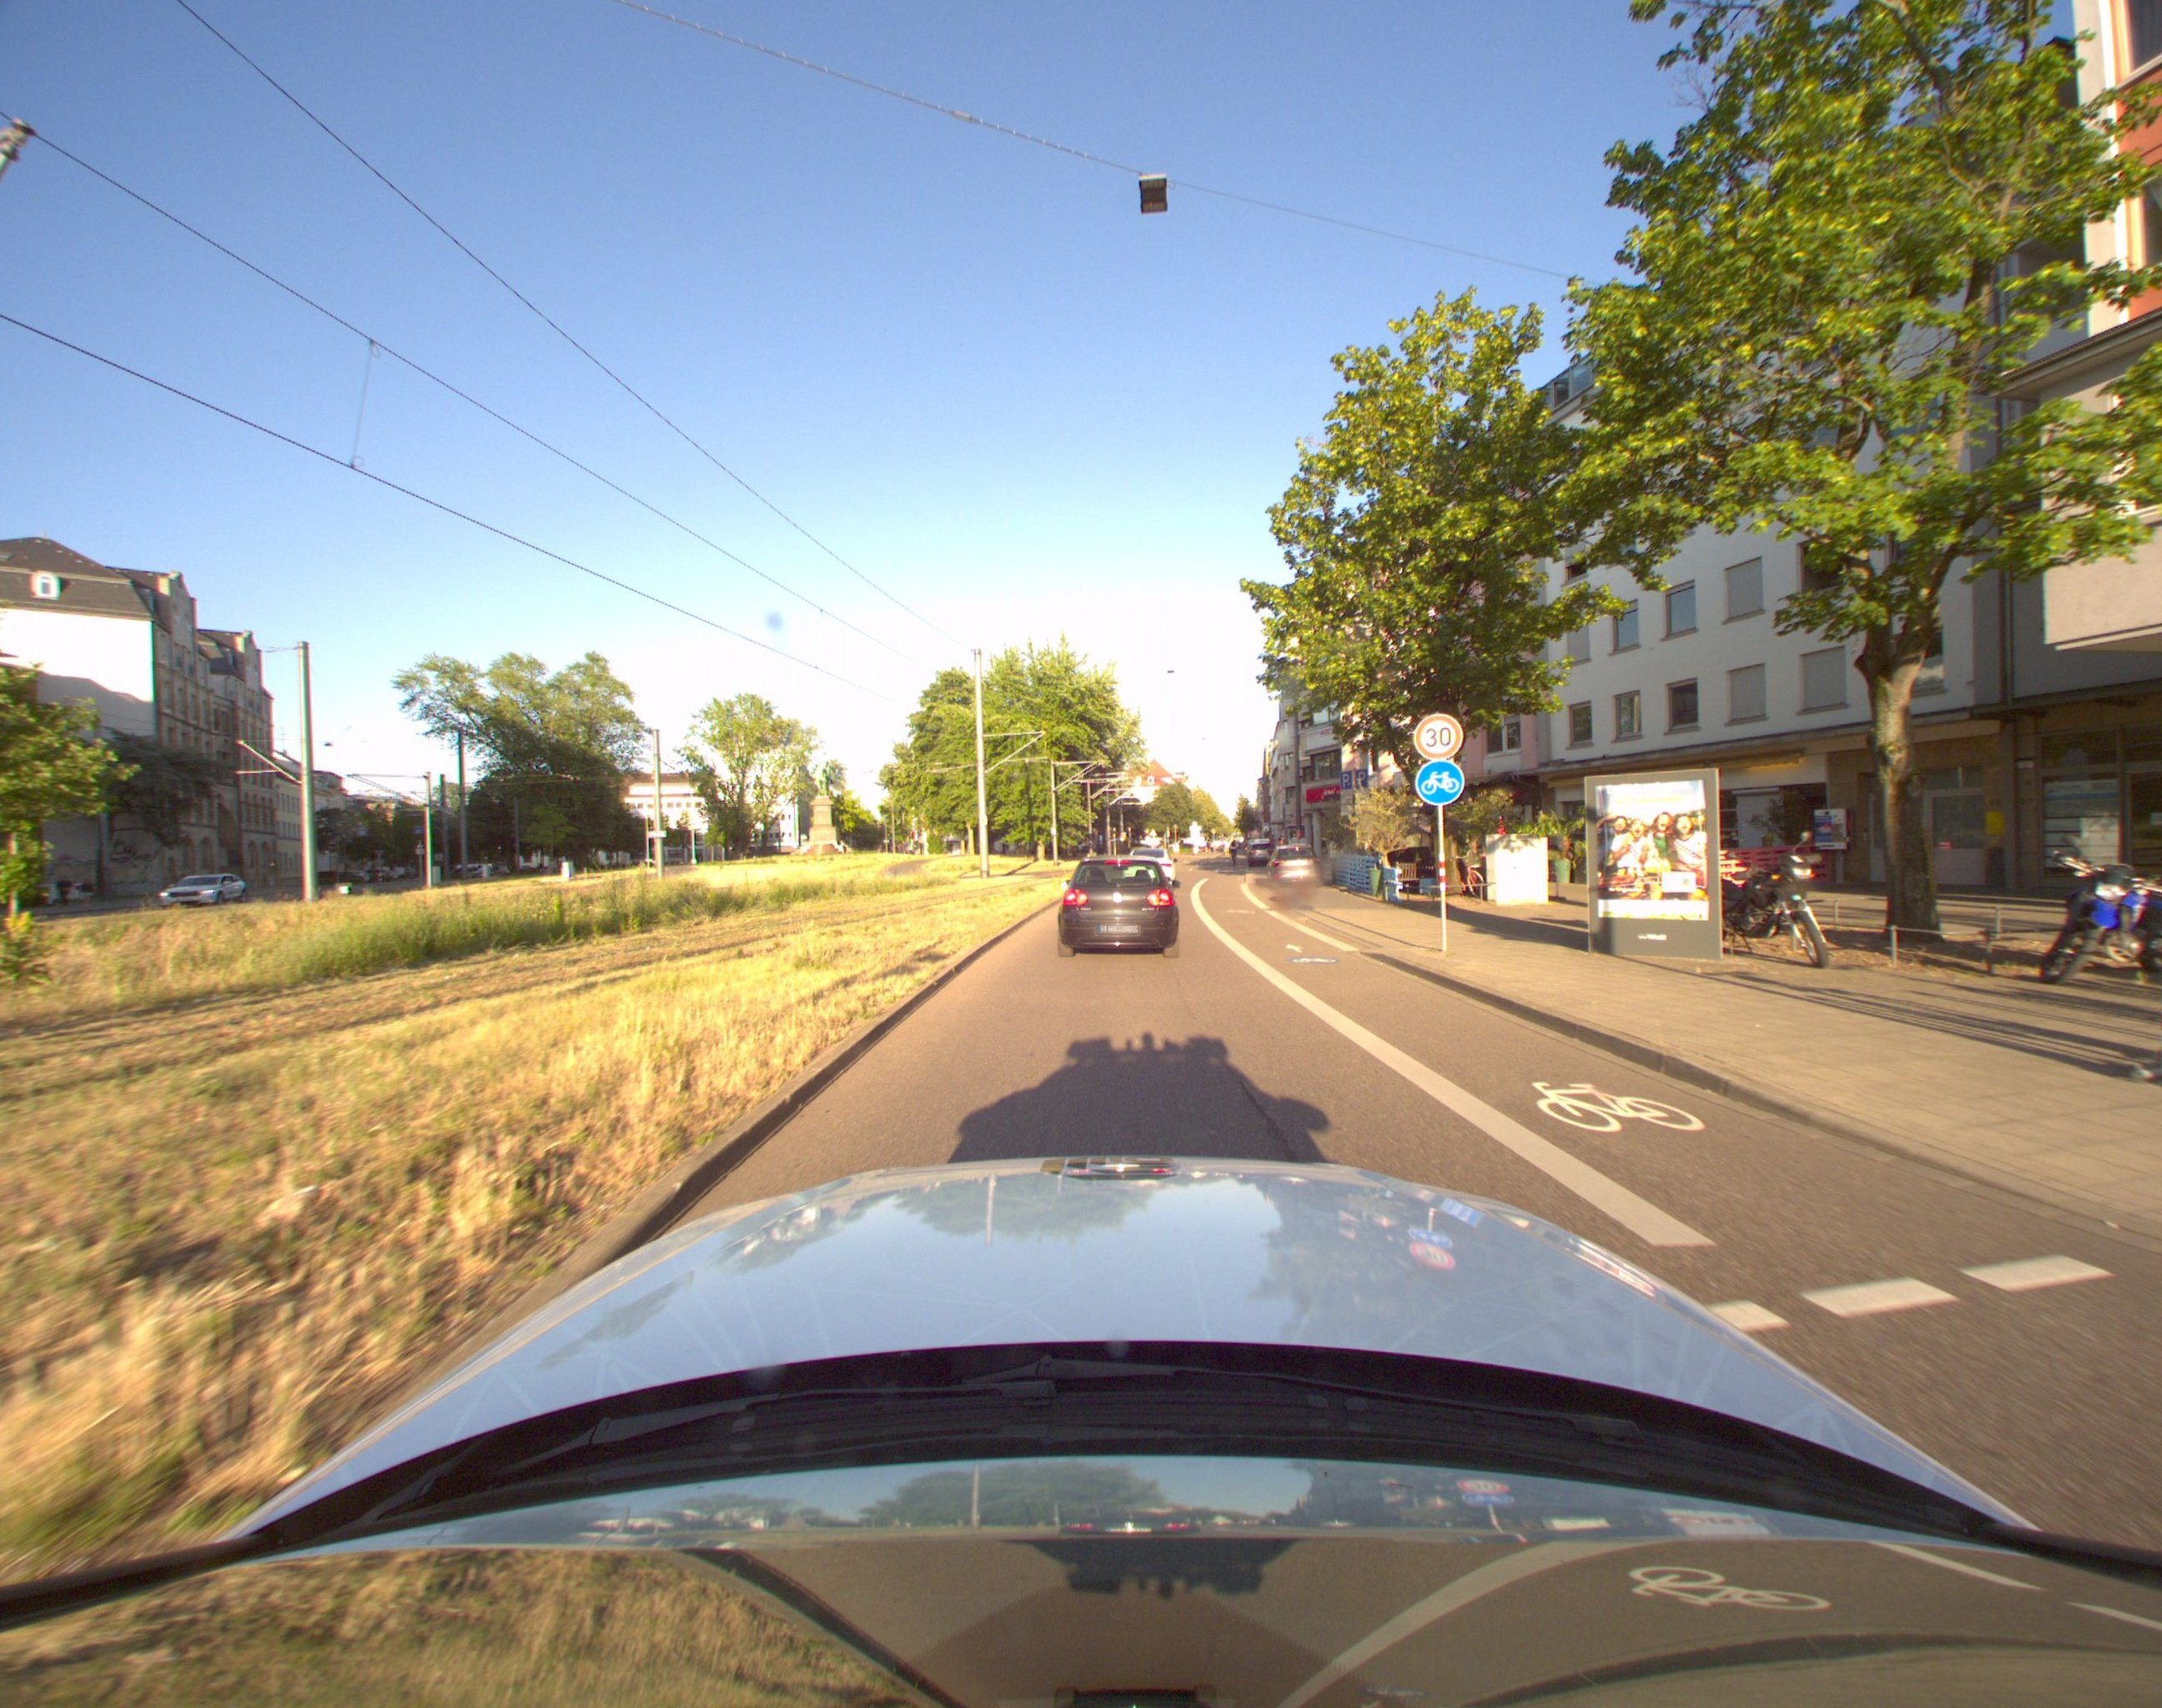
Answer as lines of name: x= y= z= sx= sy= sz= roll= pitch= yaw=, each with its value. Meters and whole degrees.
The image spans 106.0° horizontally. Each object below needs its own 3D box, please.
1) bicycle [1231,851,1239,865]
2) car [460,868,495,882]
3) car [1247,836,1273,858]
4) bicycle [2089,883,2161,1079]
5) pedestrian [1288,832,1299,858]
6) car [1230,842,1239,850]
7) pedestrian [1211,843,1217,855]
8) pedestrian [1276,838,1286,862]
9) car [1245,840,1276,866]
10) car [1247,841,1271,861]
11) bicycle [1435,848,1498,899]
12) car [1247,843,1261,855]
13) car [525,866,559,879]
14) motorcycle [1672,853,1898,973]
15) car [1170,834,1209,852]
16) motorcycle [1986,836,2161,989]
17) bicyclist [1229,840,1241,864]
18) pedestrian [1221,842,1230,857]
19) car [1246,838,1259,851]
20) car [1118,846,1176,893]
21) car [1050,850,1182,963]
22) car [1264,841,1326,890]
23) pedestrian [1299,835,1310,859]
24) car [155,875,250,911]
bicycle: x=10.605 y=0.263 z=56.066 sx=0.575 sy=0.987 sz=1.942 roll=-1 pitch=0 yaw=11
car: x=-62.647 y=2.172 z=84.558 sx=1.568 sy=1.258 sz=3.709 roll=-3 pitch=1 yaw=-15
car: x=15.337 y=-0.577 z=69.950 sx=1.856 sy=1.713 sz=4.517 roll=-4 pitch=0 yaw=9
bicycle: x=6.855 y=0.782 z=4.293 sx=0.645 sy=1.126 sz=1.867 roll=-2 pitch=1 yaw=-11
pedestrian: x=15.801 y=-0.681 z=60.455 sx=0.618 sy=1.858 sz=0.664 roll=-4 pitch=0 yaw=12
car: x=34.426 y=-1.797 z=182.567 sx=1.894 sy=1.552 sz=4.012 roll=-2 pitch=1 yaw=11
pedestrian: x=16.920 y=-0.601 z=103.820 sx=0.732 sy=1.555 sz=0.633 roll=-1 pitch=0 yaw=8
pedestrian: x=14.934 y=-0.297 z=60.702 sx=0.575 sy=1.760 sz=0.664 roll=-4 pitch=0 yaw=12
car: x=11.823 y=-0.089 z=53.721 sx=1.770 sy=1.556 sz=4.249 roll=-4 pitch=0 yaw=12
car: x=14.133 y=-0.267 z=64.413 sx=1.650 sy=1.441 sz=3.869 roll=-4 pitch=0 yaw=14
bicycle: x=9.387 y=0.443 z=19.891 sx=0.420 sy=1.157 sz=1.749 roll=-2 pitch=1 yaw=-10
car: x=23.479 y=-0.672 z=110.806 sx=1.723 sy=1.617 sz=3.929 roll=-3 pitch=0 yaw=11
car: x=-62.367 y=2.096 z=94.338 sx=1.544 sy=1.354 sz=3.522 roll=-1 pitch=1 yaw=1
motorcycle: x=8.359 y=0.629 z=9.834 sx=0.665 sy=1.242 sz=2.196 roll=-2 pitch=1 yaw=-6
car: x=16.550 y=-1.663 z=124.622 sx=5.521 sy=2.594 sz=2.144 roll=-1 pitch=0 yaw=-15
motorcycle: x=10.515 y=0.547 z=8.223 sx=2.040 sy=1.406 sz=0.759 roll=-2 pitch=0 yaw=-5
bicyclist: x=10.588 y=-0.124 z=55.942 sx=0.772 sy=1.618 sz=1.028 roll=0 pitch=0 yaw=11
pedestrian: x=16.611 y=-0.541 z=93.543 sx=0.855 sy=1.706 sz=0.943 roll=-1 pitch=0 yaw=5
car: x=25.976 y=-1.470 z=123.321 sx=1.912 sy=1.841 sz=4.031 roll=-3 pitch=0 yaw=12
car: x=2.420 y=0.496 z=28.966 sx=1.855 sy=1.441 sz=4.206 roll=-2 pitch=1 yaw=7
car: x=0.659 y=0.701 z=12.953 sx=1.739 sy=1.461 sz=4.110 roll=-1 pitch=0 yaw=5
car: x=7.409 y=0.356 z=28.503 sx=1.717 sy=1.472 sz=3.911 roll=-4 pitch=0 yaw=10
pedestrian: x=16.556 y=-0.517 z=60.246 sx=0.618 sy=1.740 sz=0.664 roll=-4 pitch=0 yaw=12
car: x=-43.200 y=1.864 z=40.167 sx=1.780 sy=1.482 sz=4.271 roll=-2 pitch=1 yaw=-27
